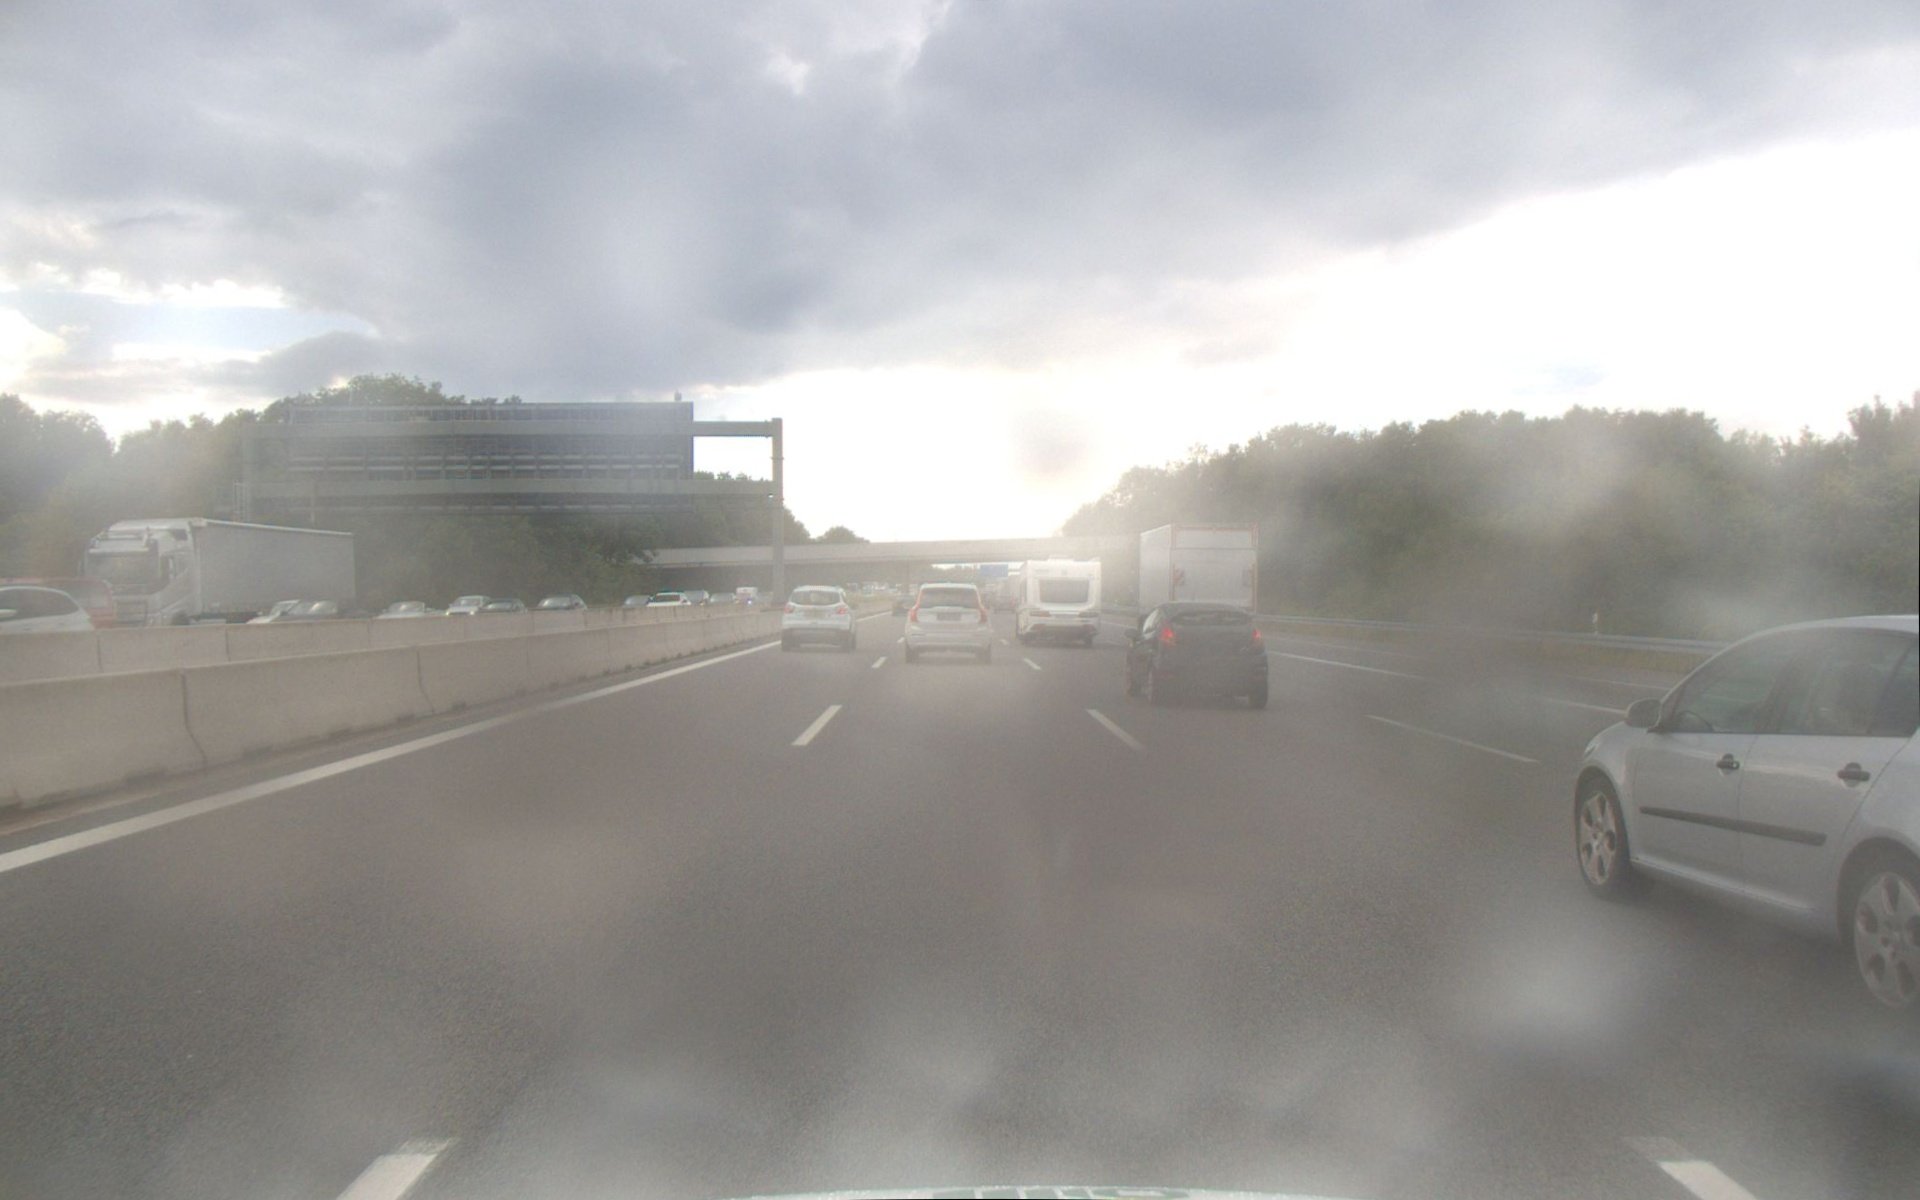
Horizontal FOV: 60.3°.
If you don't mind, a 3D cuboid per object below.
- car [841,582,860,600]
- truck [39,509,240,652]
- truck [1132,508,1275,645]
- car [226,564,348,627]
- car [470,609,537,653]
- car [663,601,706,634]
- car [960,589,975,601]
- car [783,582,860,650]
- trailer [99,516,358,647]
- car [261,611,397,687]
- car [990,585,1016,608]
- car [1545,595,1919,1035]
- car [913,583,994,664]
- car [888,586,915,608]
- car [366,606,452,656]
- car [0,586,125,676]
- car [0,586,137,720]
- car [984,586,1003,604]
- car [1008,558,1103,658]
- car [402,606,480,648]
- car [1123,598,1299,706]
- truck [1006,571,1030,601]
[{"bbox_3d":[-14.034,-1.161,211.988,1.953,2.219,5.289,1,0,0],"label":"car"},{"bbox_3d":[-25.362,-0.588,51.516,3.155,4.128,6.231,1,0,-1],"label":"truck"},{"bbox_3d":[7.318,-0.687,51.126,3.069,3.774,9.848,1,0,1],"label":"truck"},{"bbox_3d":[-21.472,-0.162,52.967,1.953,1.906,4.760,1,0,0],"label":"car"},{"bbox_3d":[-21.349,1.408,77.539,1.953,1.924,4.362,1,0,0],"label":"car"},{"bbox_3d":[-17.710,1.111,106.384,1.953,2.049,4.760,1,0,0],"label":"car"},{"bbox_3d":[1.061,-0.706,228.495,1.844,1.715,3.998,1,0,-3],"label":"car"},{"bbox_3d":[-3.683,0.388,44.596,1.778,1.719,4.851,0,1,-1],"label":"car"},{"bbox_3d":[-25.492,-0.627,58.850,3.173,4.099,13.806,1,0,-1],"label":"trailer"},{"bbox_3d":[-17.463,1.311,46.006,1.953,1.906,4.760,1,0,0],"label":"car"},{"bbox_3d":[3.528,-0.293,136.500,2.001,1.855,4.904,1,0,0],"label":"car"},{"bbox_3d":[4.154,0.743,7.139,1.759,1.503,4.037,1,0,-1],"label":"car"},{"bbox_3d":[-0.204,0.497,37.931,1.745,1.746,4.351,1,0,-2],"label":"car"},{"bbox_3d":[-4.028,-0.213,115.053,1.744,1.507,4.352,1,0,0],"label":"car"},{"bbox_3d":[-21.143,1.149,63.633,1.783,1.812,4.672,1,0,-1],"label":"car"},{"bbox_3d":[-21.513,0.637,37.974,1.953,1.906,5.392,1,0,0],"label":"car"},{"bbox_3d":[-13.509,0.680,22.767,1.953,1.744,4.871,1,0,-1],"label":"car"},{"bbox_3d":[3.690,-0.564,181.486,2.001,1.855,4.904,1,0,0],"label":"car"},{"bbox_3d":[2.928,0.213,52.510,2.514,2.946,7.533,1,0,0],"label":"car"},{"bbox_3d":[-26.055,1.332,83.173,2.381,1.986,4.828,1,0,0],"label":"car"},{"bbox_3d":[3.602,0.699,24.474,1.847,1.431,4.281,1,0,-2],"label":"car"},{"bbox_3d":[7.623,-1.821,216.933,2.846,3.876,7.274,1,0,0],"label":"truck"}]
